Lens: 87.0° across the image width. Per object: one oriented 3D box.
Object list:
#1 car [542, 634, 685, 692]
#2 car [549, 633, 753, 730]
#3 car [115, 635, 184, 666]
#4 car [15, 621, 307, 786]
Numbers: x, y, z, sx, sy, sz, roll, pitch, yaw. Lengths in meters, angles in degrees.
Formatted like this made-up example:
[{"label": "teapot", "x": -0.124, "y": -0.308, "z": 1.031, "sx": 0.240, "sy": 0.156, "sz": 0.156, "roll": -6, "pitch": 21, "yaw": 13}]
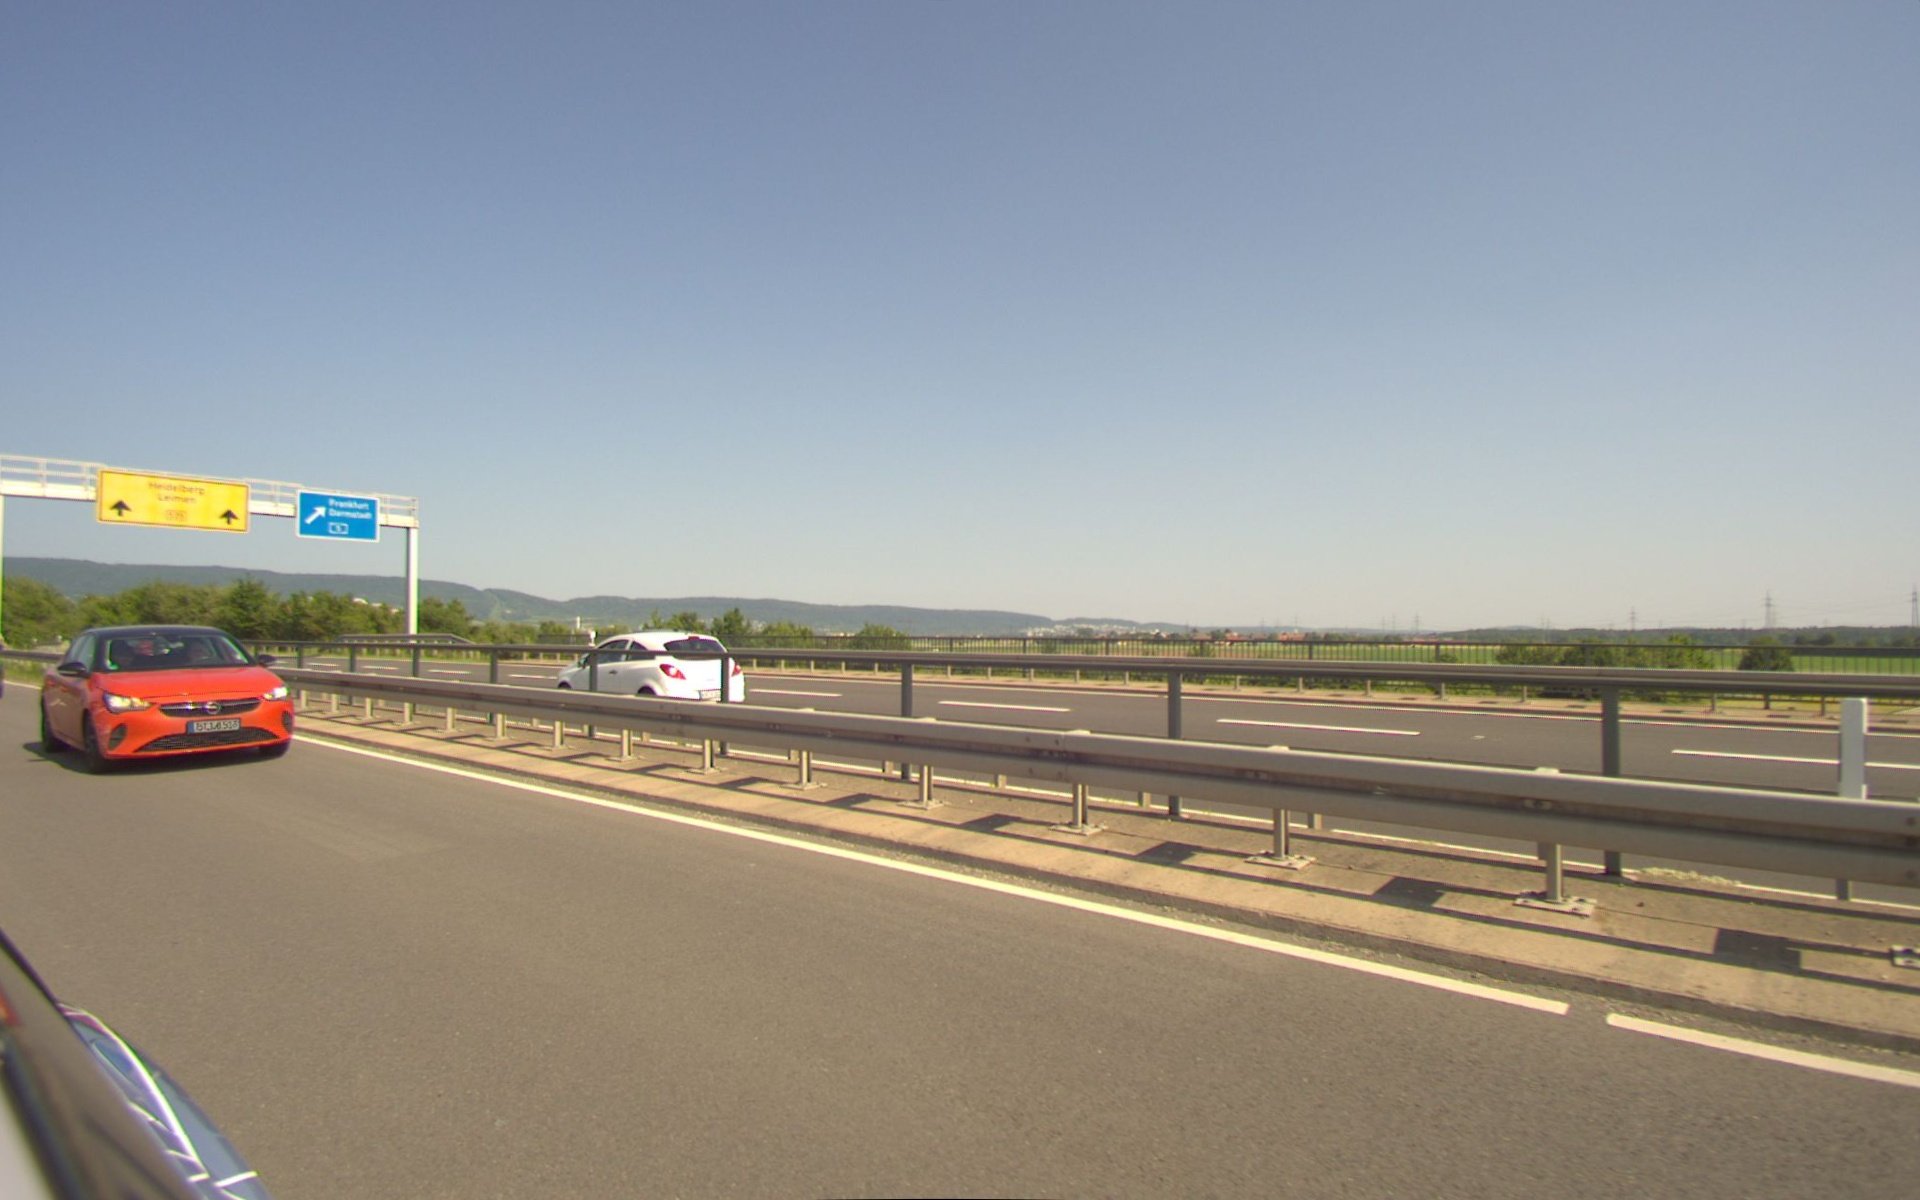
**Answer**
[{"label": "car", "x": -9.339, "y": 1.645, "z": 27.157, "sx": 3.995, "sy": 1.394, "sz": 1.762, "roll": -2, "pitch": -1, "yaw": 38}, {"label": "car", "x": -5.275, "y": 1.289, "z": 17.066, "sx": 3.665, "sy": 1.427, "sz": 1.536, "roll": -2, "pitch": -1, "yaw": 40}, {"label": "car", "x": -41.562, "y": 2.566, "z": 51.860, "sx": 4.525, "sy": 1.439, "sz": 1.807, "roll": -2, "pitch": -2, "yaw": 38}, {"label": "car", "x": -9.058, "y": 1.025, "z": 11.333, "sx": 4.408, "sy": 1.448, "sz": 1.692, "roll": -2, "pitch": 0, "yaw": 40}]
